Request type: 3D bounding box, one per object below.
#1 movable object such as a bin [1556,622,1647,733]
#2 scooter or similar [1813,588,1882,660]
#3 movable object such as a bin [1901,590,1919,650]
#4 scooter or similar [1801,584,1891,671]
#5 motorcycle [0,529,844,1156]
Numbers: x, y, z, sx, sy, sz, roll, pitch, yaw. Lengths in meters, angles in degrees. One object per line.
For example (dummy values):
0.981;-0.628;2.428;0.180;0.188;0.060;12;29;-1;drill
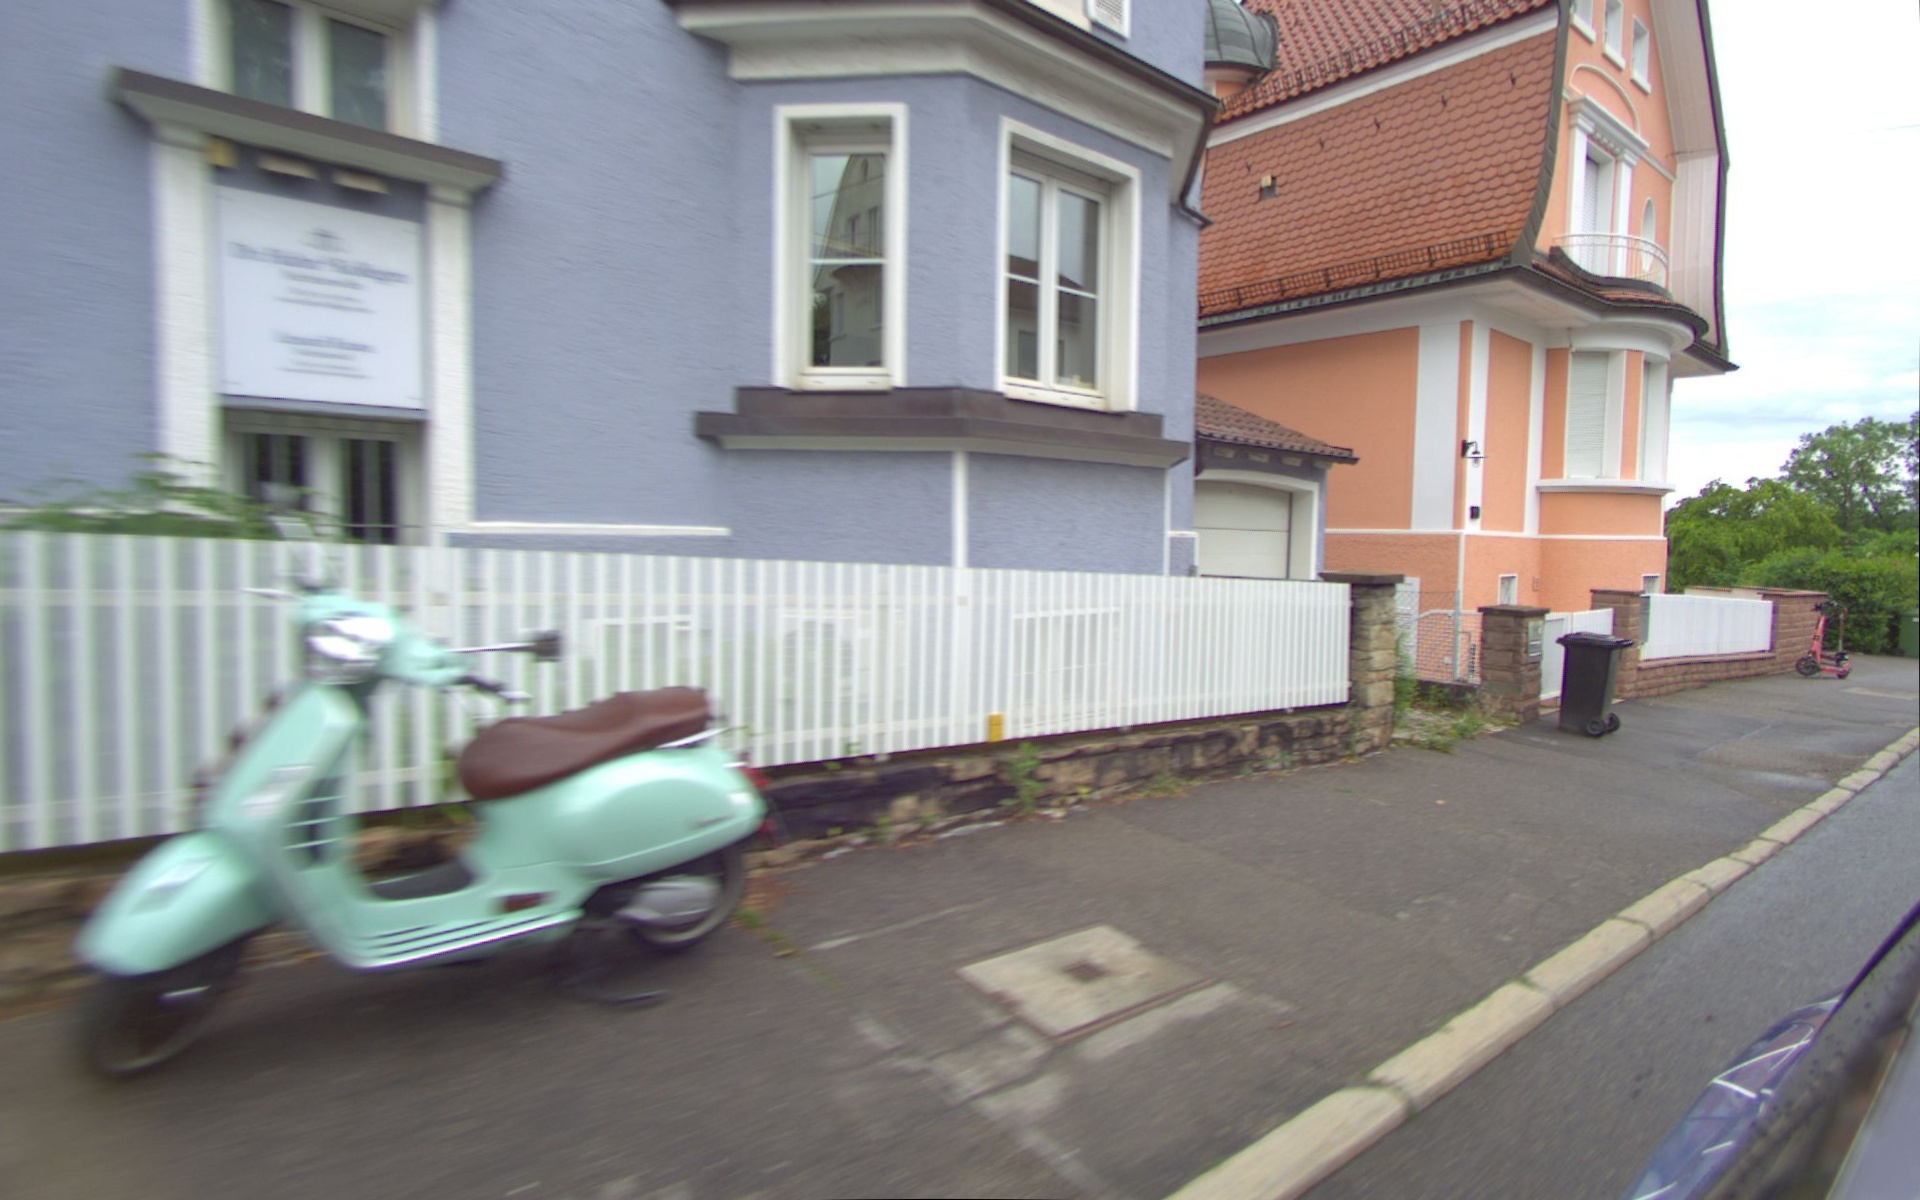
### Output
5.932;0.697;9.365;0.480;0.929;0.533;0;5;-42;movable object such as a bin
17.166;0.443;19.598;0.351;1.287;1.290;1;3;11;scooter or similar
21.017;0.452;21.890;0.899;1.260;0.728;0;5;-36;movable object such as a bin
14.855;0.457;16.969;1.447;1.420;0.357;1;1;-16;scooter or similar
-1.461;0.491;2.834;2.113;1.239;0.696;0;8;-36;motorcycle
